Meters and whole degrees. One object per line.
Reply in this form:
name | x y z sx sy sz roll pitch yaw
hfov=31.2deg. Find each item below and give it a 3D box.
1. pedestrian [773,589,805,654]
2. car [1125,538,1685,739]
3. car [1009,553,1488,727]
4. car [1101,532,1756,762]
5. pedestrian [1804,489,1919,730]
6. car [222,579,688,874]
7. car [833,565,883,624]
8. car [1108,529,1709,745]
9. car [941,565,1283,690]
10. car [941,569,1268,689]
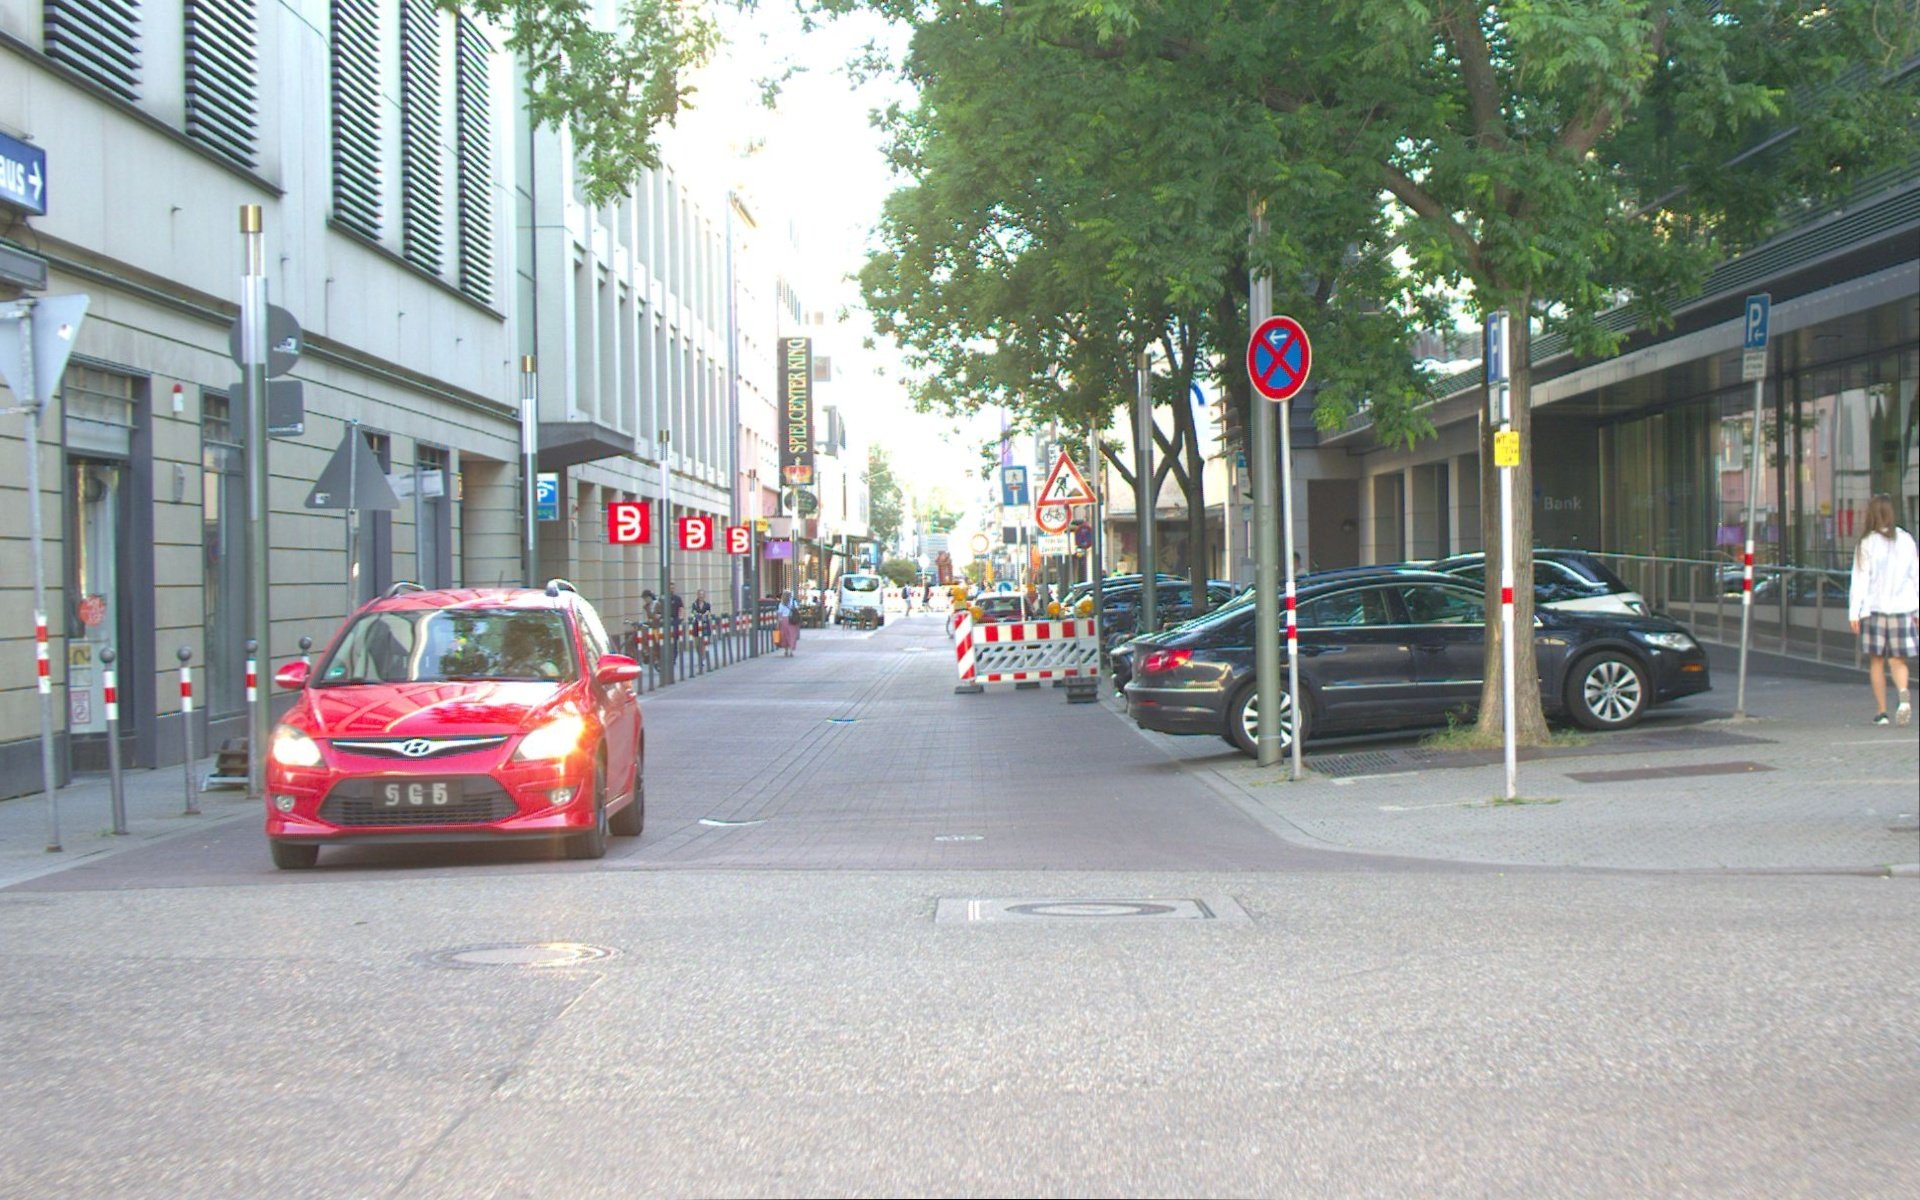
pedestrian | -4.184 0.519 84.010 0.732 1.569 0.636 0 0 1
car | 4.212 0.362 33.164 5.004 1.494 2.000 -4 0 -2
car | 3.137 0.430 38.170 5.004 1.494 2.000 -4 0 -2
car | 3.782 0.379 28.414 5.004 1.447 2.000 -4 0 -2
pedestrian | 6.784 0.061 25.204 0.905 1.700 0.834 -4 -1 2
car | -2.709 0.683 19.400 1.822 1.460 4.263 -1 -1 2
car | -4.189 -0.243 140.899 1.993 2.321 5.021 1 0 -2
car | 3.947 0.325 30.898 5.004 1.494 2.000 -4 0 -2
car | 2.286 0.416 52.763 5.004 1.494 2.000 -4 0 -2
car | 2.277 0.462 55.179 5.004 1.494 2.000 -4 0 -2
